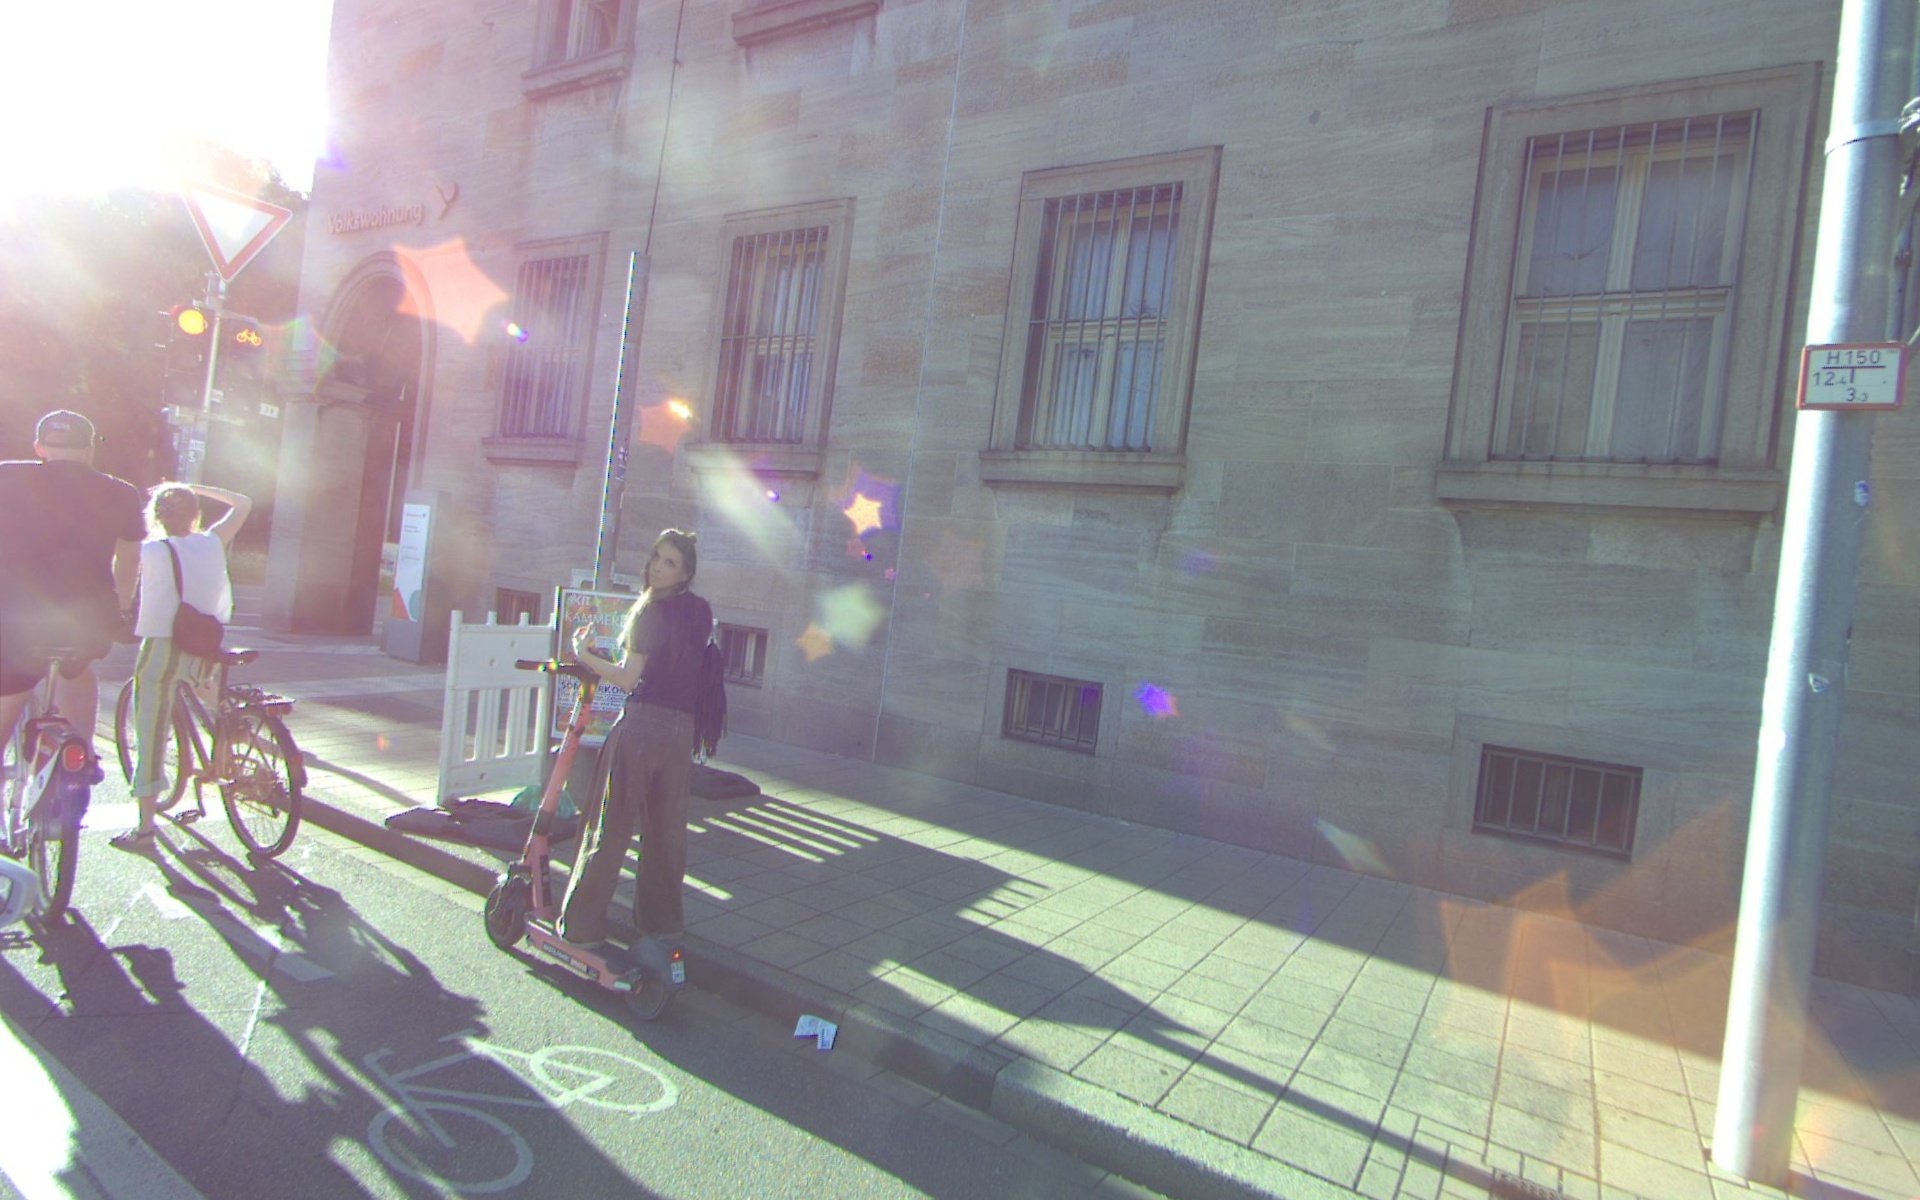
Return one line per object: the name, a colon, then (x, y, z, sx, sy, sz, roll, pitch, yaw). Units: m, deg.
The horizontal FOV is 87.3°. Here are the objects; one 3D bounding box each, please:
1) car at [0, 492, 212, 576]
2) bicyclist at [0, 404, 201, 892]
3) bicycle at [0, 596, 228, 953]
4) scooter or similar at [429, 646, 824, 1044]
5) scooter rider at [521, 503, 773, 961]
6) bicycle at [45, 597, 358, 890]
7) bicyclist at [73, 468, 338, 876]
car: (-23.492, -1.765, 27.348, 1.967, 1.533, 4.586, 6, -2, 32)
bicyclist: (-3.668, 0.160, 3.986, 0.897, 1.736, 0.624, 7, 0, 31)
bicycle: (-3.732, 0.581, 3.992, 1.717, 1.057, 0.624, 7, 0, 31)
scooter or similar: (-1.268, 0.841, 3.834, 1.249, 1.163, 0.574, 7, 0, 23)
scooter rider: (-1.198, 0.465, 3.857, 0.569, 1.581, 0.544, 7, 0, 42)
bicycle: (-3.721, 0.620, 4.889, 1.718, 1.057, 0.582, 7, 0, 33)
bicyclist: (-3.653, 0.306, 4.868, 0.934, 1.759, 0.584, 7, 0, 32)
